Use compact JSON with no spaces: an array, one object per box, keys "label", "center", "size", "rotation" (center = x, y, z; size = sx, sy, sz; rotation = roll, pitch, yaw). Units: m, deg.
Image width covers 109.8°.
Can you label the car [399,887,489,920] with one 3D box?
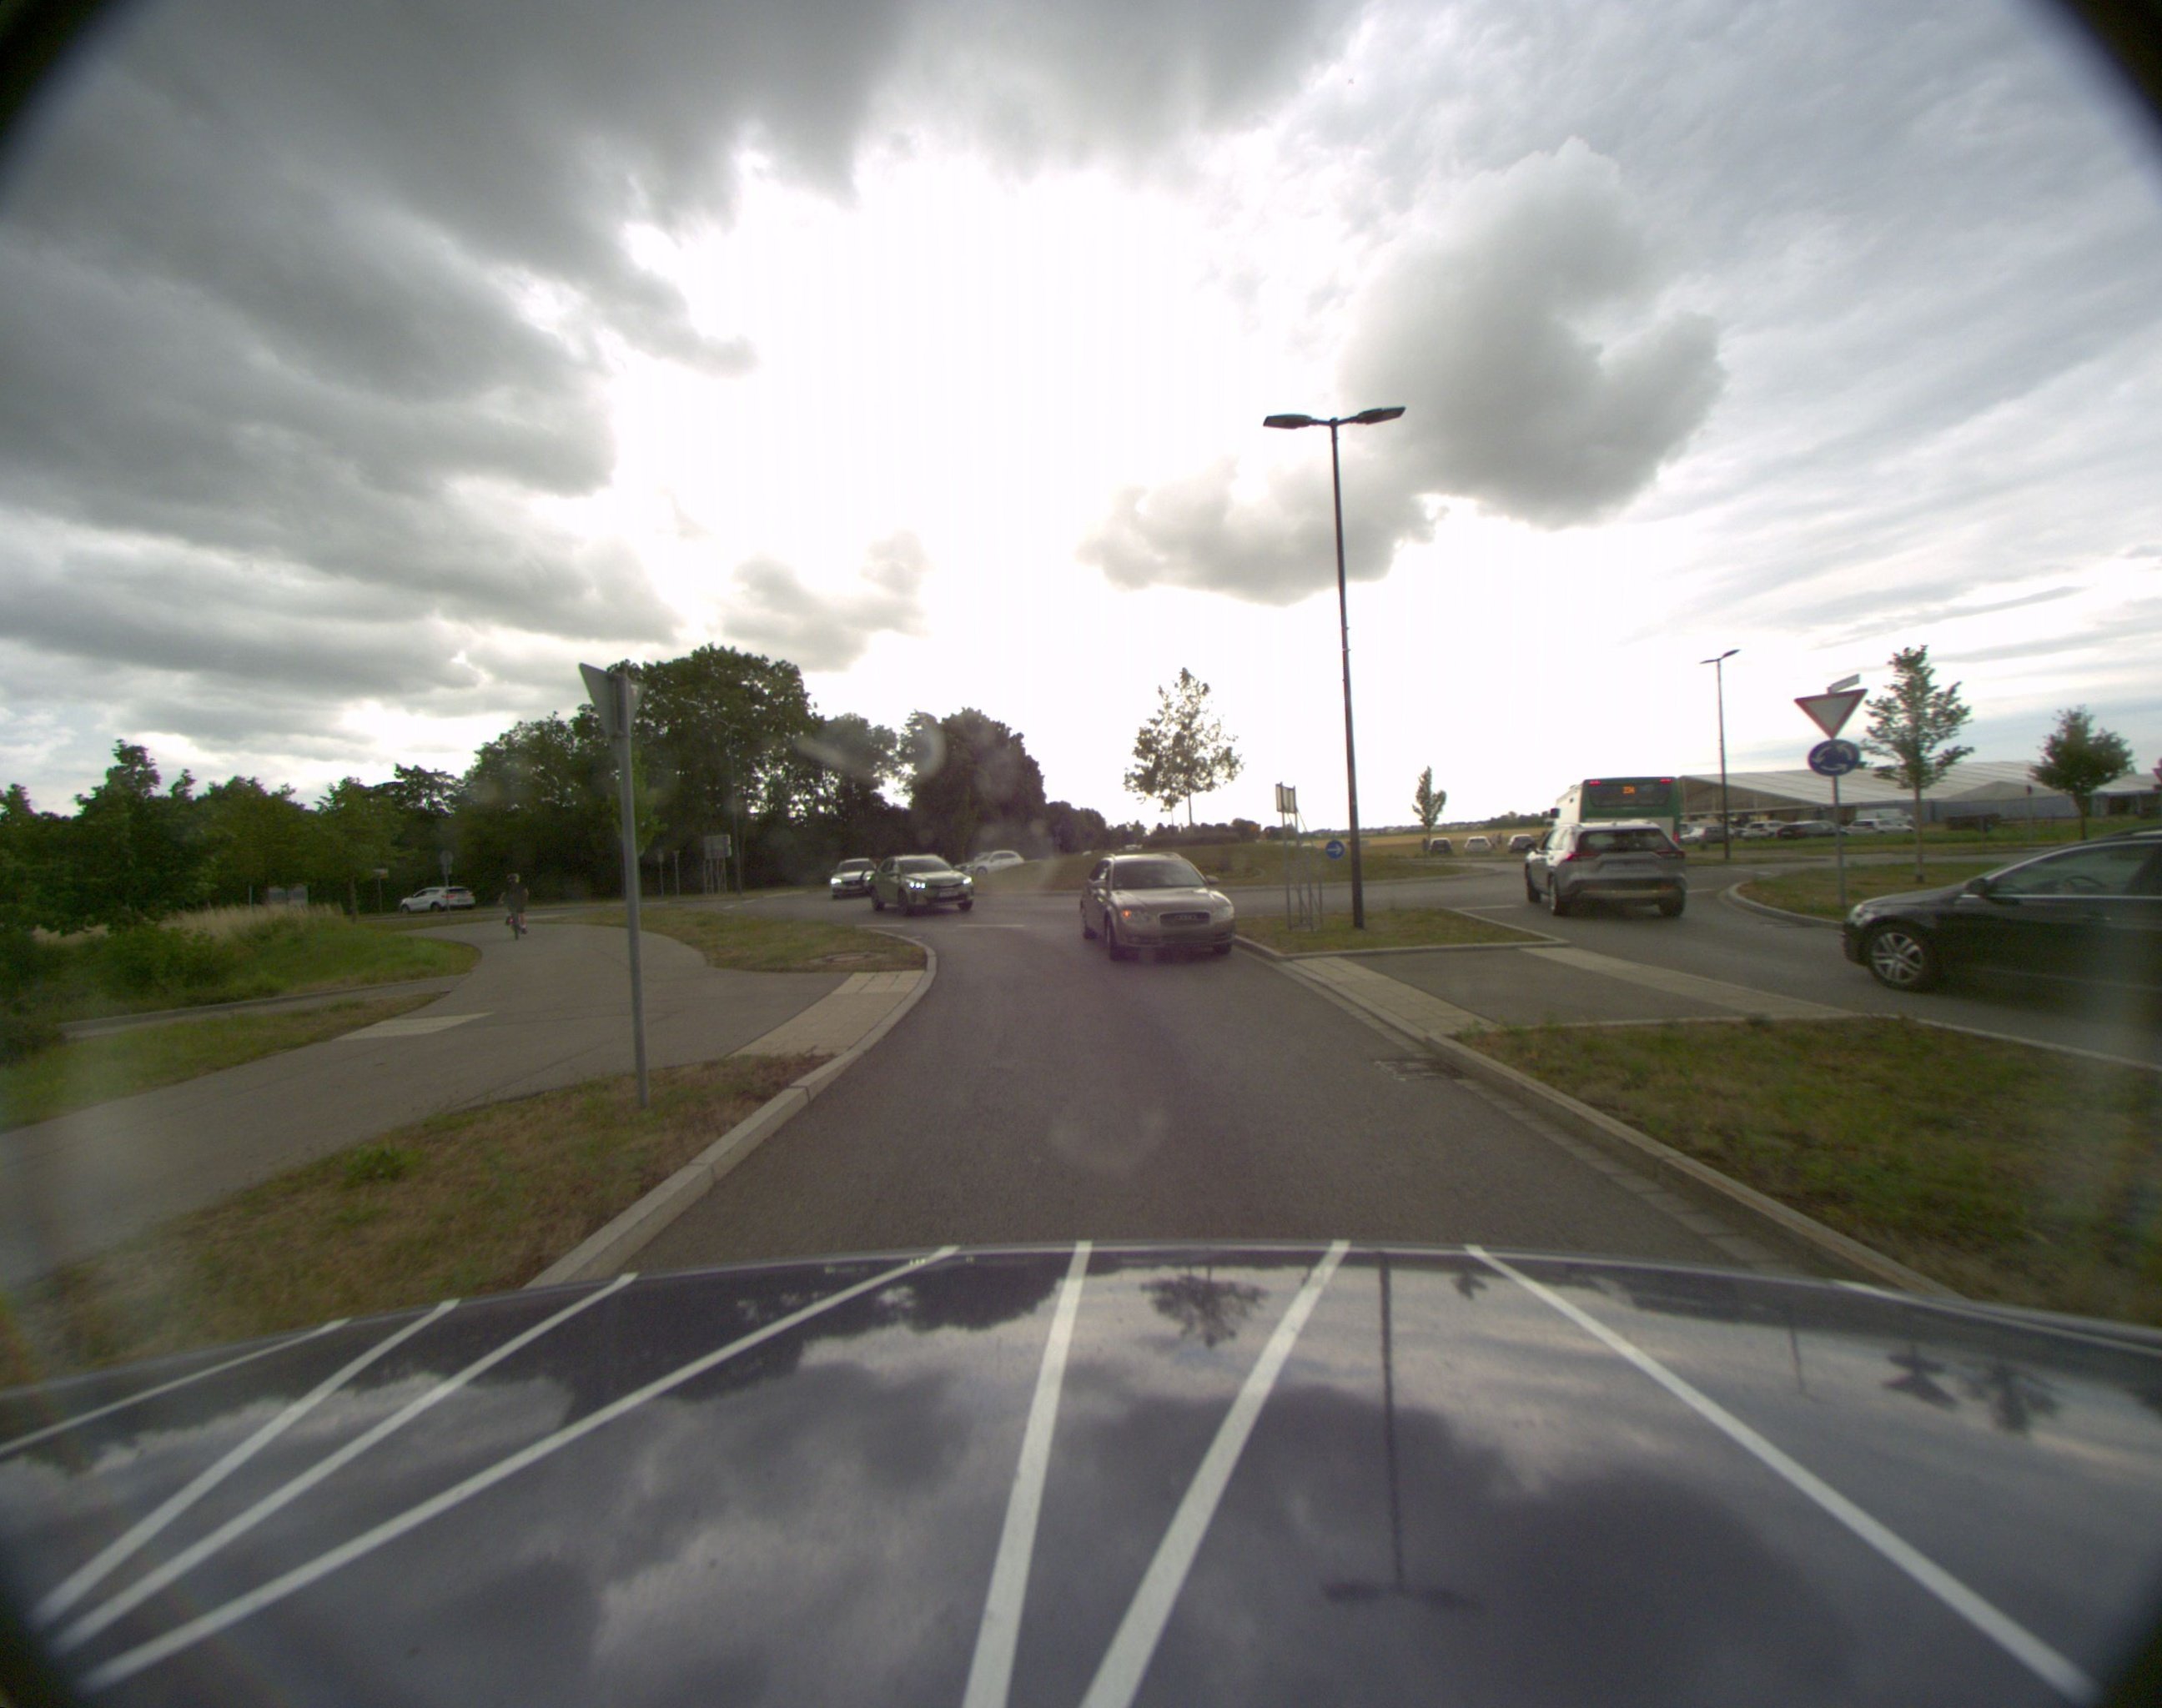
[{"label":"car","center":[-37.494,2.902,44.731],"size":[4.066,1.761,2.002],"rotation":[-1,1,14]}]

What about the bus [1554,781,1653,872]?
[{"label":"bus","center":[21.117,-1.030,30.946],"size":[2.985,3.261,6.714],"rotation":[-1,1,33]}]

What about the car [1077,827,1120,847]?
[{"label":"car","center":[1.582,-1.489,67.613],"size":[1.994,1.674,4.007],"rotation":[-1,1,33]}]

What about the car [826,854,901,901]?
[{"label":"car","center":[-8.317,0.845,29.380],"size":[1.871,1.533,4.197],"rotation":[-3,1,-4]}]

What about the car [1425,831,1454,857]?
[{"label":"car","center":[29.011,-0.836,61.524],"size":[1.995,2.002,4.006],"rotation":[-1,1,25]}]

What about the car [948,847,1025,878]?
[{"label":"car","center":[-5.421,0.470,43.934],"size":[1.994,1.674,4.008],"rotation":[-1,1,43]}]

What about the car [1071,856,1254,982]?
[{"label":"car","center":[1.029,0.815,11.592],"size":[1.702,1.458,3.996],"rotation":[-2,1,-10]}]

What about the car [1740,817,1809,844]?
[{"label":"car","center":[54.134,-1.814,59.343],"size":[4.001,2.002,1.998],"rotation":[-1,1,-12]}]

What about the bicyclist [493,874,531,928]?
[{"label":"bicyclist","center":[-13.722,1.119,18.330],"size":[0.657,1.236,0.556],"rotation":[-1,1,40]}]

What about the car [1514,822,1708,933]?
[{"label":"car","center":[9.510,0.289,14.063],"size":[1.827,1.713,4.404],"rotation":[-1,2,19]}]

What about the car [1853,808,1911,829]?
[{"label":"car","center":[81.463,-3.622,77.274],"size":[4.568,2.002,1.998],"rotation":[-1,1,-12]}]

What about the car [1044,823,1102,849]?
[{"label":"car","center":[-0.511,-1.354,56.564],"size":[1.994,1.794,4.781],"rotation":[-1,1,33]}]

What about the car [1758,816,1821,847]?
[{"label":"car","center":[49.193,-1.514,52.842],"size":[2.227,2.002,4.007],"rotation":[-1,1,28]}]

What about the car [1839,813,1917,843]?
[{"label":"car","center":[56.135,-1.818,53.539],"size":[4.001,2.002,1.998],"rotation":[-1,1,-12]}]

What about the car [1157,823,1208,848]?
[{"label":"car","center":[7.528,-1.350,56.001],"size":[1.994,1.674,4.008],"rotation":[-1,1,37]}]

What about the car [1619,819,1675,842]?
[{"label":"car","center":[52.783,-2.209,70.859],"size":[4.001,2.002,1.998],"rotation":[-1,1,-12]}]

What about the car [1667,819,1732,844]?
[{"label":"car","center":[51.586,-1.883,63.434],"size":[4.000,2.002,1.998],"rotation":[-1,1,-8]}]

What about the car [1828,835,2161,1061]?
[{"label":"car","center":[8.084,0.615,5.162],"size":[1.830,1.480,4.337],"rotation":[-1,1,2]}]

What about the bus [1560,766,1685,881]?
[{"label":"bus","center":[17.732,-0.907,25.222],"size":[2.985,3.261,6.497],"rotation":[-1,1,33]}]

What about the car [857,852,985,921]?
[{"label":"car","center":[-4.566,0.821,21.006],"size":[1.874,1.579,5.050],"rotation":[-4,1,-31]}]

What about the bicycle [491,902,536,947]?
[{"label":"bicycle","center":[-13.701,1.686,18.337],"size":[1.297,0.956,0.569],"rotation":[-1,1,41]}]

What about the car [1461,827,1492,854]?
[{"label":"car","center":[31.320,-1.047,60.225],"size":[1.995,2.002,4.006],"rotation":[-1,1,25]}]

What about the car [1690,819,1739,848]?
[{"label":"car","center":[46.175,-1.462,55.452],"size":[1.995,2.002,4.007],"rotation":[-1,1,28]}]
